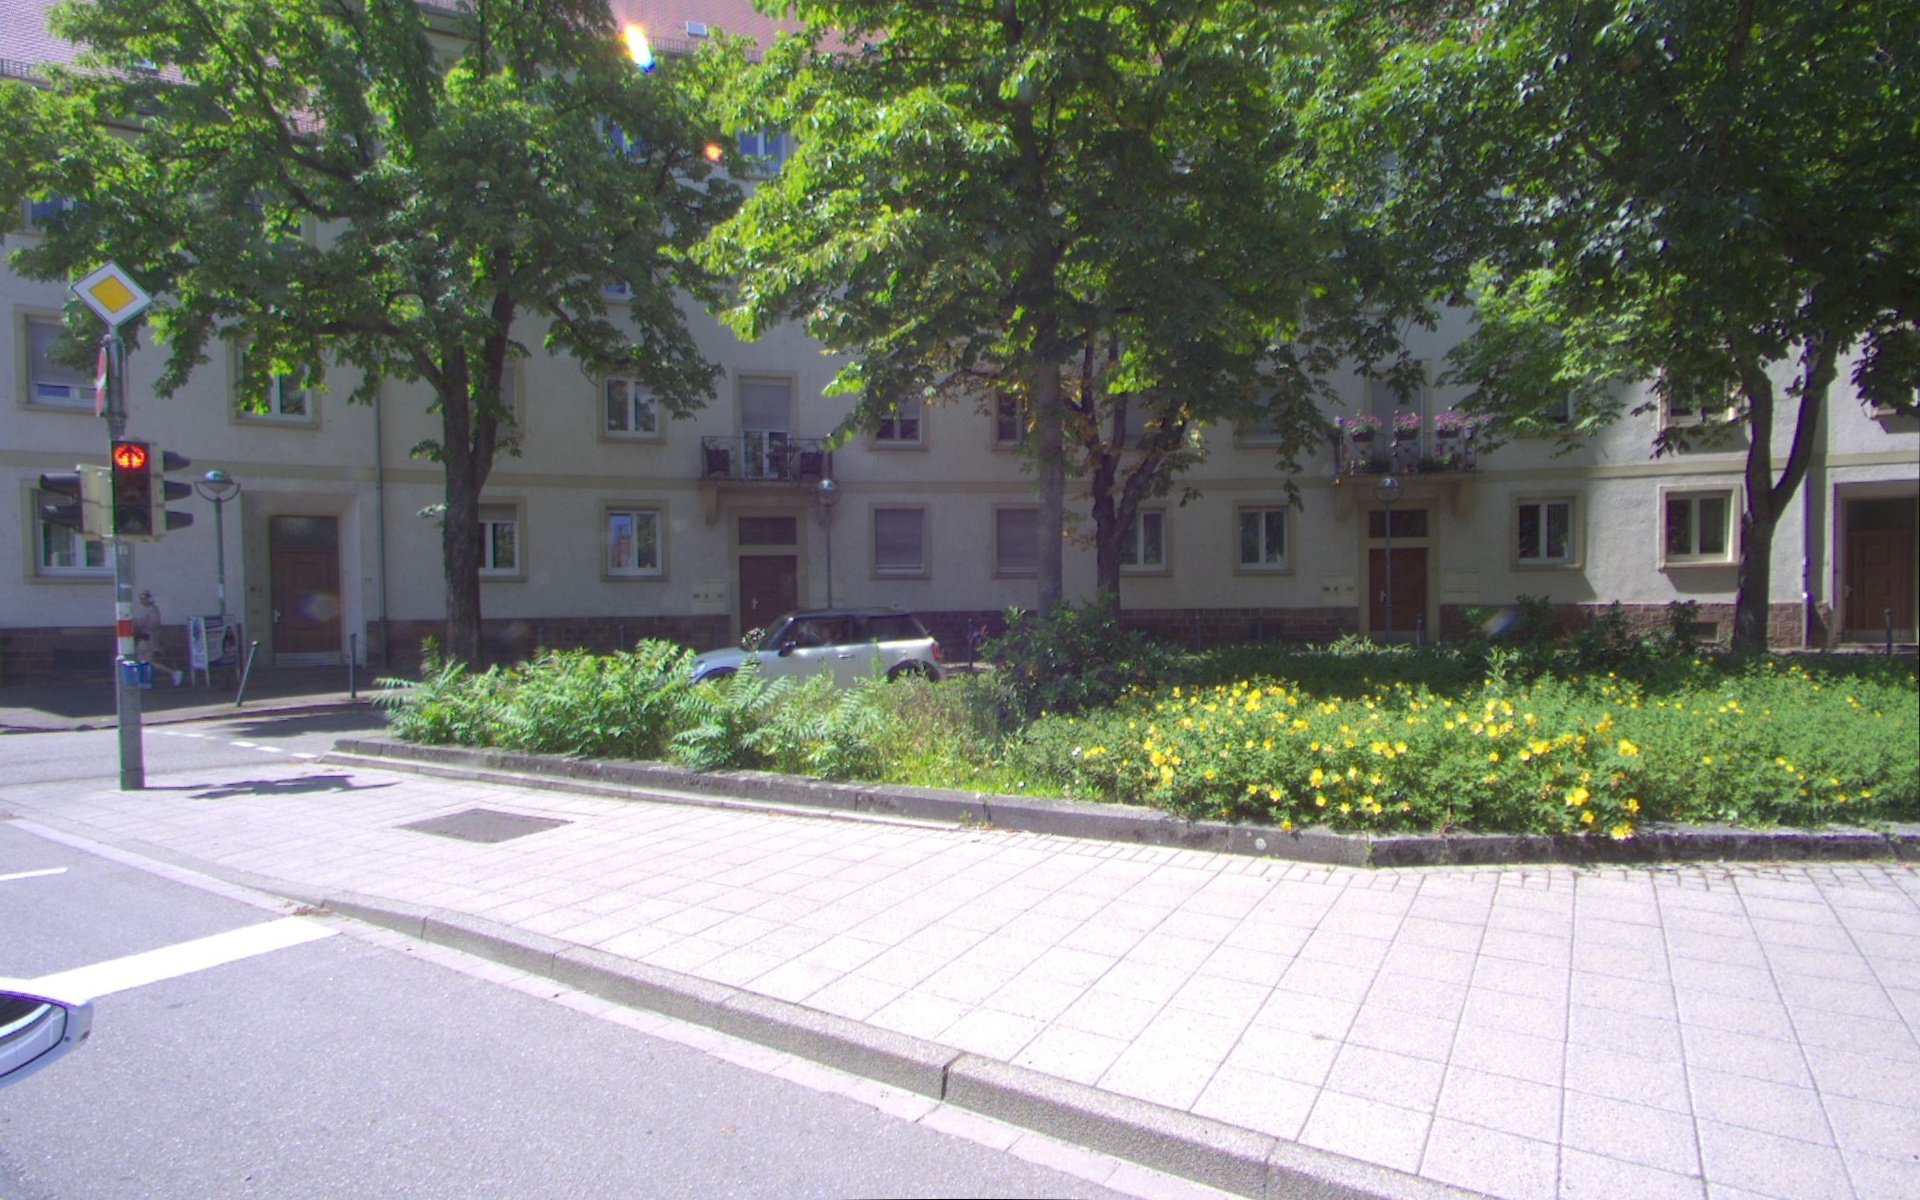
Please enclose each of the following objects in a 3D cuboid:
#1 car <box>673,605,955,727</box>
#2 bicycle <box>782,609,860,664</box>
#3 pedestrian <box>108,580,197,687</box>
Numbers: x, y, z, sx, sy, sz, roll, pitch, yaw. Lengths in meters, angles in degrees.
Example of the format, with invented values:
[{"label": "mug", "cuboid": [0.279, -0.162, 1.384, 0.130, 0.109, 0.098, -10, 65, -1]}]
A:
[{"label": "car", "cuboid": [-1.989, 0.848, 13.741, 3.583, 1.526, 1.704, 0, 0, -11]}, {"label": "bicycle", "cuboid": [-2.883, 0.755, 20.873, 1.575, 1.119, 0.525, -1, 1, -4]}, {"label": "pedestrian", "cuboid": [-14.030, 0.564, 17.437, 1.043, 1.715, 0.648, -5, 8, -36]}]
